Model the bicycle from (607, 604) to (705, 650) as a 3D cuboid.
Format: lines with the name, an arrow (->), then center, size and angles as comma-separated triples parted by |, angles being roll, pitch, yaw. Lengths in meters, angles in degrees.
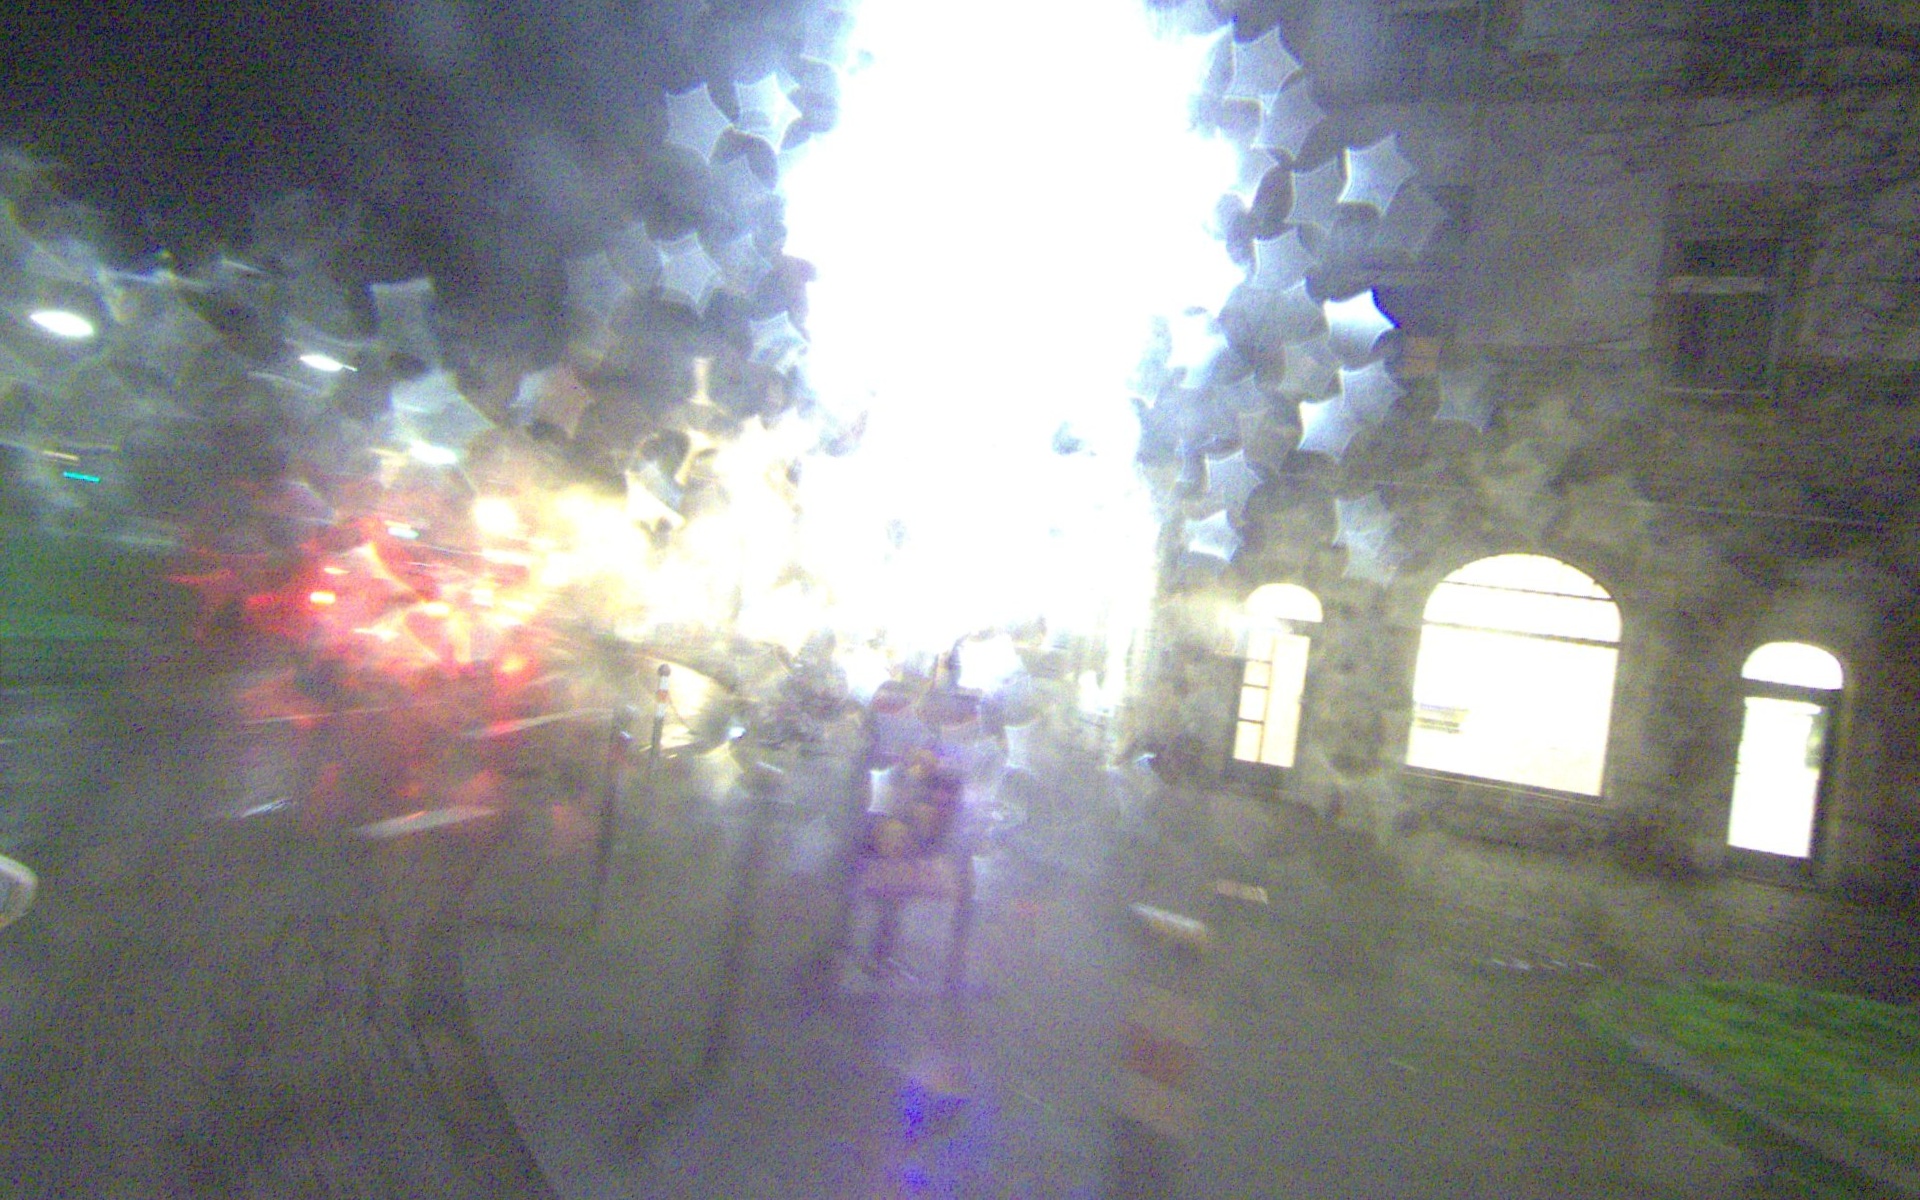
bicycle -> -9.163, 0.837, 30.433 | 0.715, 1.038, 2.765 | 7, -3, 42

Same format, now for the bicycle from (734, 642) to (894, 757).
bicycle -> -1.665, 1.129, 11.450 | 1.638, 1.072, 0.449 | 9, -1, -15

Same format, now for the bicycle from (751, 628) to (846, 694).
bicycle -> -3.217, 1.218, 20.050 | 1.709, 1.072, 0.449 | 9, -1, -15

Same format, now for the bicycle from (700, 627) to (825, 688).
bicycle -> -4.692, 1.376, 23.973 | 2.738, 1.038, 0.722 | 9, -2, -20

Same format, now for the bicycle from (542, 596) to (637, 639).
bicycle -> -12.125, 0.586, 33.001 | 2.760, 1.038, 0.716 | 11, -3, -43

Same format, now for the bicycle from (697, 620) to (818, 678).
bicycle -> -4.981, 1.212, 24.777 | 2.738, 1.038, 0.722 | 9, -2, -20

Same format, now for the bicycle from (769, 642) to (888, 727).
bicycle -> -2.015, 1.292, 15.406 | 1.638, 1.072, 0.449 | 9, -1, -15

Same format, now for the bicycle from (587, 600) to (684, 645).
bicycle -> -10.119, 0.717, 31.448 | 2.760, 1.038, 0.716 | 11, -3, -43

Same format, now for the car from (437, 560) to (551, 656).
car -> -10.782, 0.200, 23.208 | 1.978, 1.745, 3.977 | 10, -5, -26

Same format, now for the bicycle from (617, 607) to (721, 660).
bicycle -> -8.430, 0.967, 29.131 | 2.738, 1.142, 0.722 | 9, -2, -20

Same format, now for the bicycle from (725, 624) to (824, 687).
bicycle -> -3.927, 1.174, 21.321 | 1.910, 1.072, 0.449 | 9, -1, -20

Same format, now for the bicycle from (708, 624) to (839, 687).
bicycle -> -4.221, 1.259, 22.831 | 2.738, 1.038, 0.722 | 9, -2, -20

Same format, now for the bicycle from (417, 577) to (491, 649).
bicycle -> -9.291, 0.264, 18.529 | 0.765, 1.160, 1.712 | 9, -4, -16

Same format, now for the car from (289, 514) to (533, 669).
car -> -7.416, -0.005, 14.004 | 1.708, 1.630, 3.461 | 9, -4, -9

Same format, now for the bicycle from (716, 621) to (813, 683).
bicycle -> -4.267, 1.141, 21.980 | 1.910, 1.072, 0.449 | 9, -1, -20

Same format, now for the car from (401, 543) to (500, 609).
car -> -17.068, -0.805, 33.626 | 1.987, 1.745, 3.960 | 12, -5, -38

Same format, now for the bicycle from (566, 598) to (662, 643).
bicycle -> -11.078, 0.675, 32.313 | 2.760, 1.038, 0.716 | 11, -3, -43

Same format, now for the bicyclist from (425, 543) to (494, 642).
bicyclist -> -9.256, -0.117, 18.638 | 0.788, 1.692, 0.706 | 9, -3, -17
